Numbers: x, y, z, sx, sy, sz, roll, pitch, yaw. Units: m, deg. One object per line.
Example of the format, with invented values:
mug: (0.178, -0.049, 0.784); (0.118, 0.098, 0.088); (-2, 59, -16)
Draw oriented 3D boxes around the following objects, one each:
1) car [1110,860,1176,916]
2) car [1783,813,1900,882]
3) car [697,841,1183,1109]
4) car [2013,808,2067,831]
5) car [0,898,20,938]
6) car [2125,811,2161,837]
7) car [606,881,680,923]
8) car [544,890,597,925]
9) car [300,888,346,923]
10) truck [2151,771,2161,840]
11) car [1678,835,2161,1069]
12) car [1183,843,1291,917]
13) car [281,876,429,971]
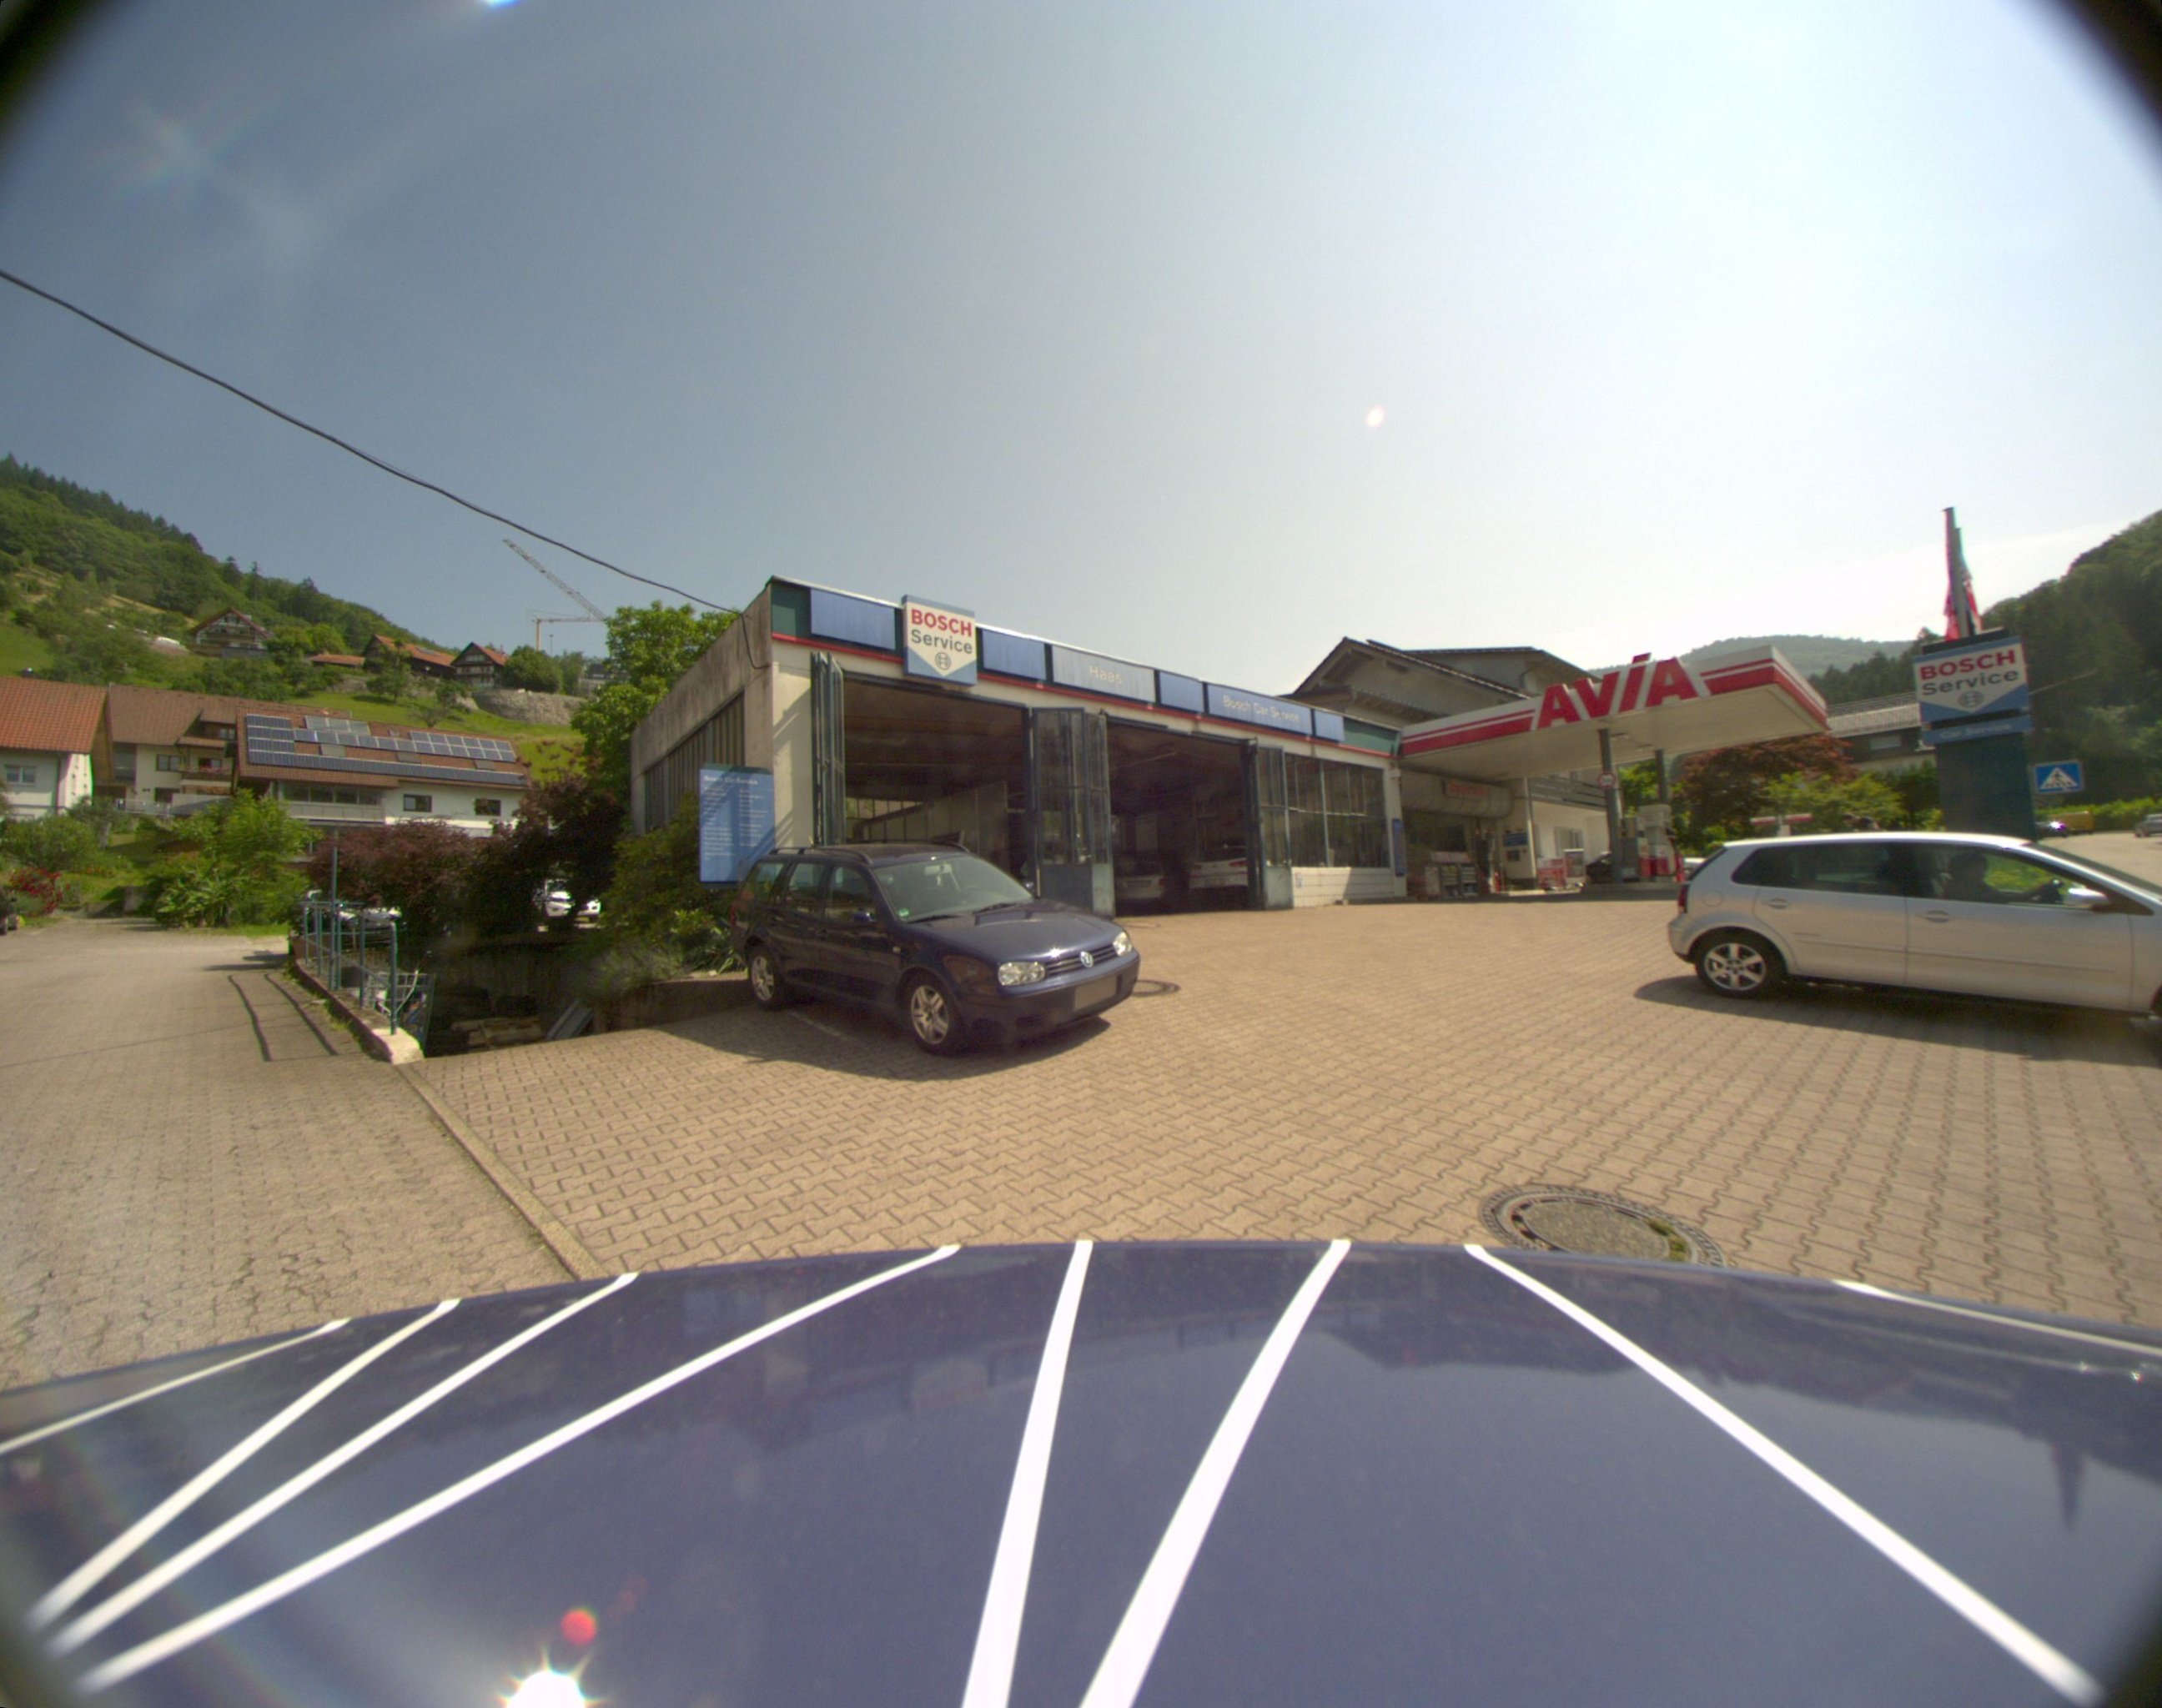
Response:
car: (1.840, 1.008, 21.680); (1.546, 1.397, 3.483); (-3, -4, 9)
car: (19.316, -0.196, 19.256); (3.918, 1.568, 1.693); (-3, 1, -39)
car: (-1.459, 0.747, 6.608); (4.319, 1.536, 1.803); (-1, 2, 42)
car: (80.775, -2.892, 64.027); (1.861, 1.767, 3.710); (-2, 1, 36)
car: (-32.897, 1.898, 22.736); (2.856, 1.057, 1.115); (0, -2, 40)
car: (68.860, -1.937, 48.731); (3.605, 1.565, 1.783); (-3, 1, -44)
car: (-18.844, 2.009, 32.634); (3.900, 1.546, 1.683); (-2, 1, 44)
car: (-21.110, 2.165, 31.364); (1.471, 1.251, 3.379); (0, -1, -40)
car: (-33.800, 2.246, 33.899); (3.205, 1.363, 1.347); (-1, 1, 45)
truck: (57.714, -2.586, 39.003); (7.787, 3.560, 2.646); (-3, -1, -39)
car: (7.207, 0.623, 5.906); (1.598, 1.474, 3.746); (-3, 2, -37)
car: (4.198, 0.605, 19.975); (1.602, 1.678, 3.937); (-2, 1, 30)
car: (-15.688, 1.352, 16.320); (4.863, 1.635, 2.004); (-2, 1, 43)
